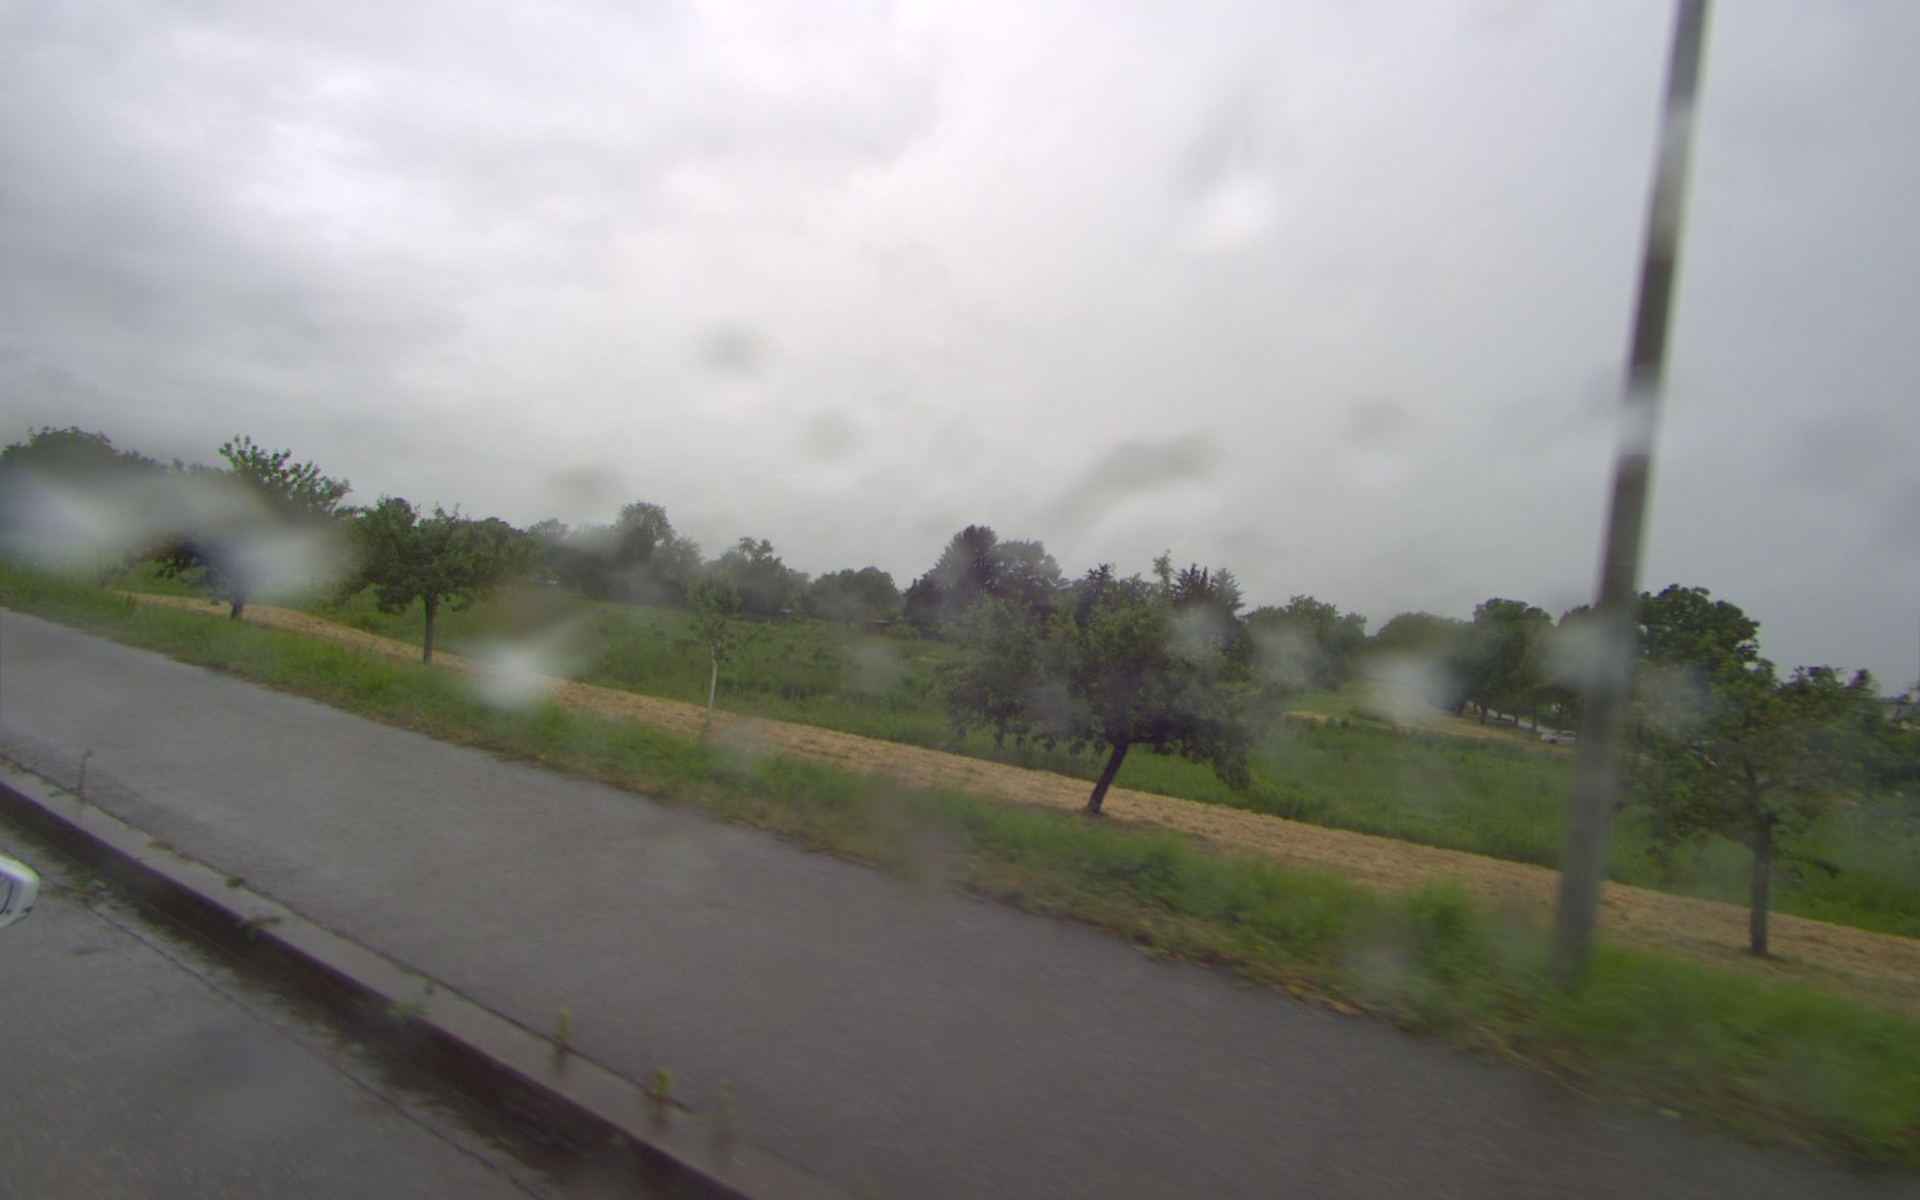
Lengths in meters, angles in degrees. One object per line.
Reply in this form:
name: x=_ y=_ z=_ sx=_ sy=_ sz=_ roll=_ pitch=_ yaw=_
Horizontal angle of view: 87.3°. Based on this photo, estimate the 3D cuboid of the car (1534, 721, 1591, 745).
car: x=55.978 y=12.359 z=93.482 sx=4.086 sy=1.527 sz=1.803 roll=7 pitch=-2 yaw=13
